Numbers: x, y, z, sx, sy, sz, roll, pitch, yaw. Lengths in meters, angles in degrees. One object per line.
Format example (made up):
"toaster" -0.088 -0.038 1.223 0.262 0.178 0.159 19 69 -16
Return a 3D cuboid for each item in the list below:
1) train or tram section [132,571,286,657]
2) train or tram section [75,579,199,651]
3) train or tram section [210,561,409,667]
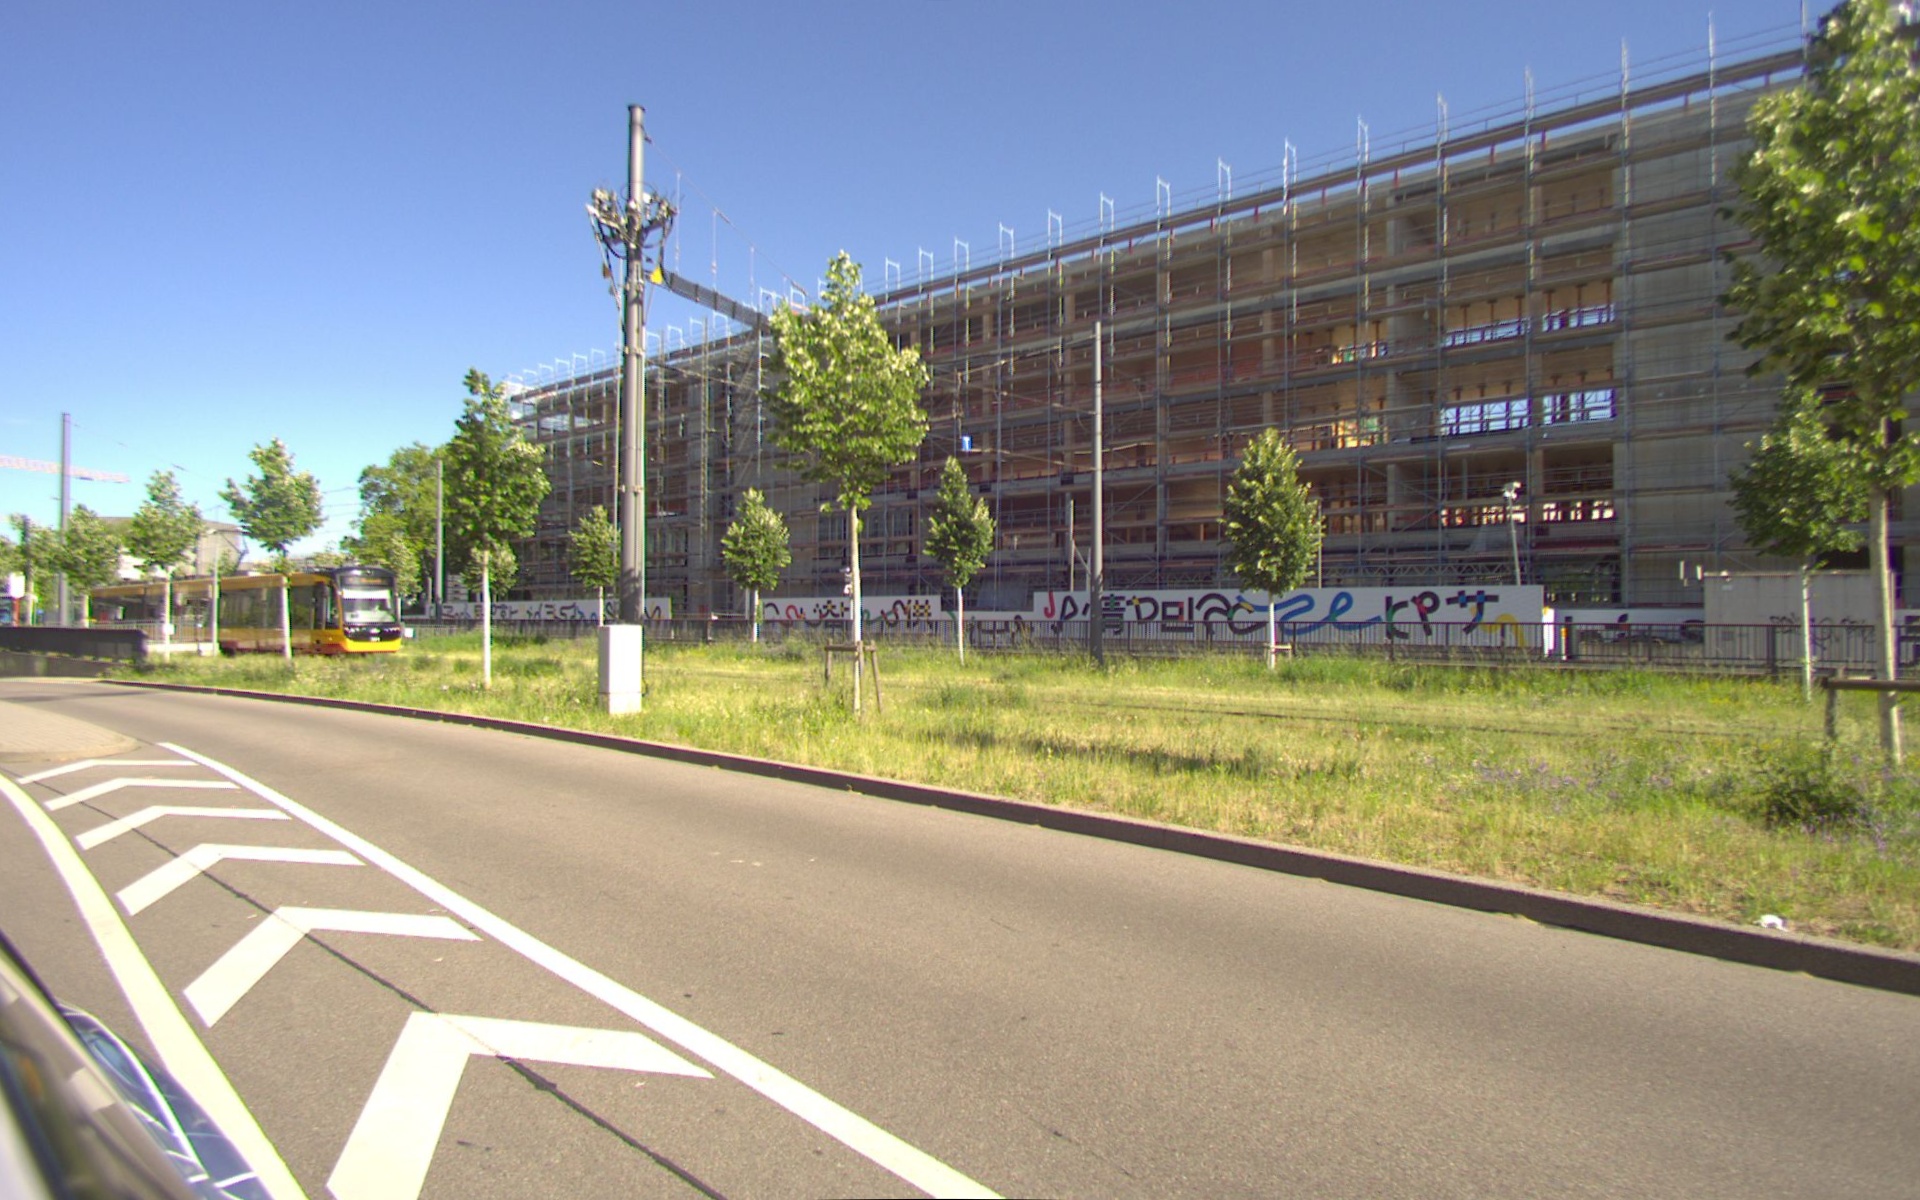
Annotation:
"train or tram section" -35.976 0.703 48.181 12.775 3.666 2.788 -1 -2 39
"train or tram section" -45.895 0.846 56.226 12.775 3.666 2.788 -1 -2 39
"train or tram section" -26.059 0.563 40.080 12.775 3.666 2.788 -1 -2 39
